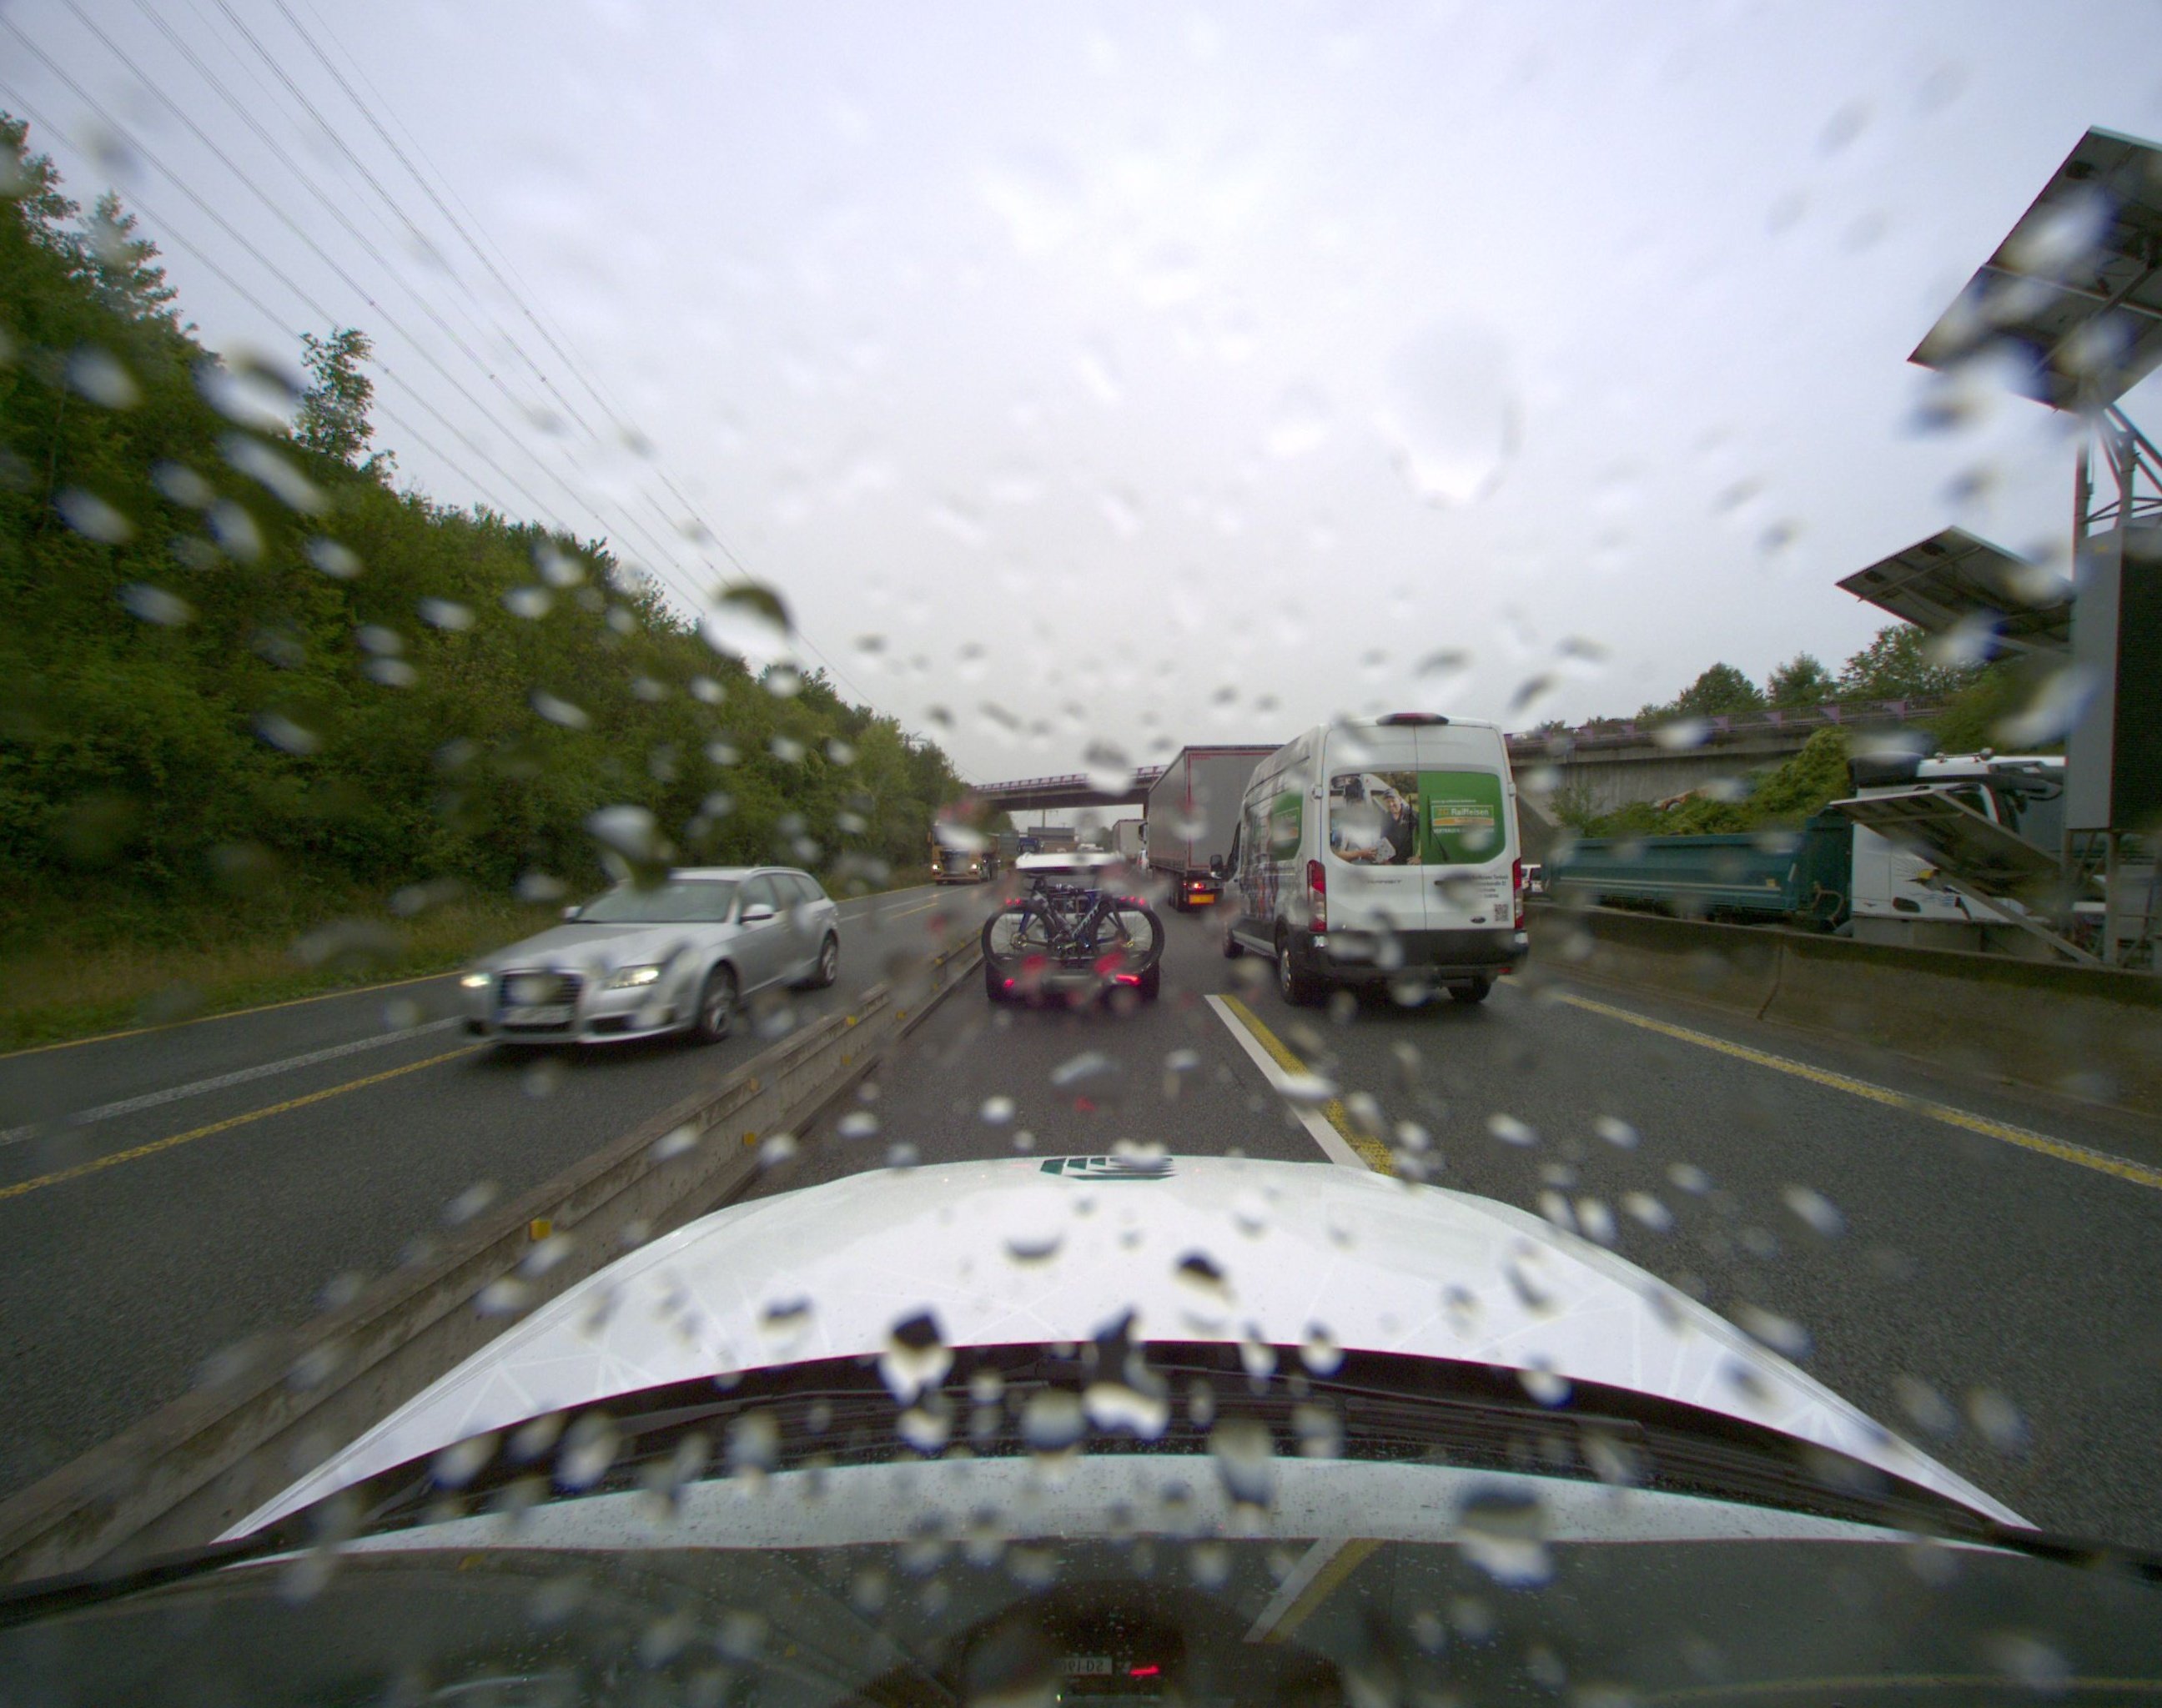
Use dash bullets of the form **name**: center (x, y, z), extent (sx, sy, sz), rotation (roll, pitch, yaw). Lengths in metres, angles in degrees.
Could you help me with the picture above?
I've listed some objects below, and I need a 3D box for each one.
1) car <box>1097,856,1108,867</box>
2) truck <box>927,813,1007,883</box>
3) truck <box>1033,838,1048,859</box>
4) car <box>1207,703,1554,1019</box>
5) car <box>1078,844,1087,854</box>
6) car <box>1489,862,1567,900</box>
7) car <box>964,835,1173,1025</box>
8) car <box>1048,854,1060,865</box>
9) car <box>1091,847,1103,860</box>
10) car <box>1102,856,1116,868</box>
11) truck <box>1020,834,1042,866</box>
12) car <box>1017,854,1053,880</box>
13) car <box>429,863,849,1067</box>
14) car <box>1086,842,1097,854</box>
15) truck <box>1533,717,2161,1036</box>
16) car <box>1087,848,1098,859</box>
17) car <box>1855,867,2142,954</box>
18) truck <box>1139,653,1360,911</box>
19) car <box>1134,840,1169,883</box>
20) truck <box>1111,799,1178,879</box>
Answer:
- **car**: center (3.280, 1.134, 122.820), extent (1.632, 1.497, 3.667), rotation (-1, -1, 1)
- **truck**: center (-6.515, -0.266, 48.721), extent (2.671, 3.656, 12.315), rotation (-1, 0, 2)
- **truck**: center (-8.039, -1.014, 163.080), extent (2.456, 4.123, 10.087), rotation (-1, -1, 0)
- **car**: center (3.030, 0.082, 10.030), extent (2.136, 2.676, 6.119), rotation (-1, -1, 1)
- **car**: center (0.262, -1.146, 192.821), extent (1.986, 2.126, 4.528), rotation (-1, -1, 1)
- **car**: center (22.443, 1.320, 41.096), extent (1.839, 1.809, 4.160), rotation (-1, -1, 3)
- **car**: center (-0.007, 0.685, 9.422), extent (1.803, 1.637, 4.638), rotation (-1, -1, 3)
- **car**: center (-4.293, 0.866, 130.724), extent (1.778, 1.610, 4.103), rotation (-1, -1, 0)
- **car**: center (2.682, -0.070, 137.242), extent (1.986, 2.014, 4.001), rotation (-1, -1, 1)
- **car**: center (3.421, 0.971, 98.383), extent (1.632, 1.497, 3.667), rotation (-1, -1, 1)
- **truck**: center (-6.935, -0.419, 112.272), extent (2.760, 4.123, 16.901), rotation (-1, 0, -4)
- **car**: center (-2.931, 0.821, 52.654), extent (1.928, 1.607, 4.121), rotation (-1, -1, 1)
- **car**: center (-3.824, 0.831, 8.075), extent (1.774, 1.443, 4.328), rotation (-1, -1, 0)
- **car**: center (2.154, -1.176, 166.355), extent (2.231, 2.307, 4.573), rotation (-1, -1, 1)
- **truck**: center (10.696, 0.245, 12.589), extent (2.511, 3.132, 9.121), rotation (-1, -1, 1)
- **car**: center (2.136, -0.120, 153.659), extent (1.986, 2.014, 4.001), rotation (-1, -1, 1)
- **car**: center (22.253, 1.272, 20.134), extent (1.934, 1.829, 4.731), rotation (-1, -1, 3)
- **truck**: center (4.465, -1.524, 28.260), extent (3.965, 5.673, 20.382), rotation (-1, 0, 2)
- **car**: center (3.730, 0.385, 43.528), extent (1.663, 2.180, 4.537), rotation (-1, -1, 3)
- **truck**: center (5.007, -0.984, 68.315), extent (4.724, 5.673, 20.388), rotation (-1, 0, 3)
